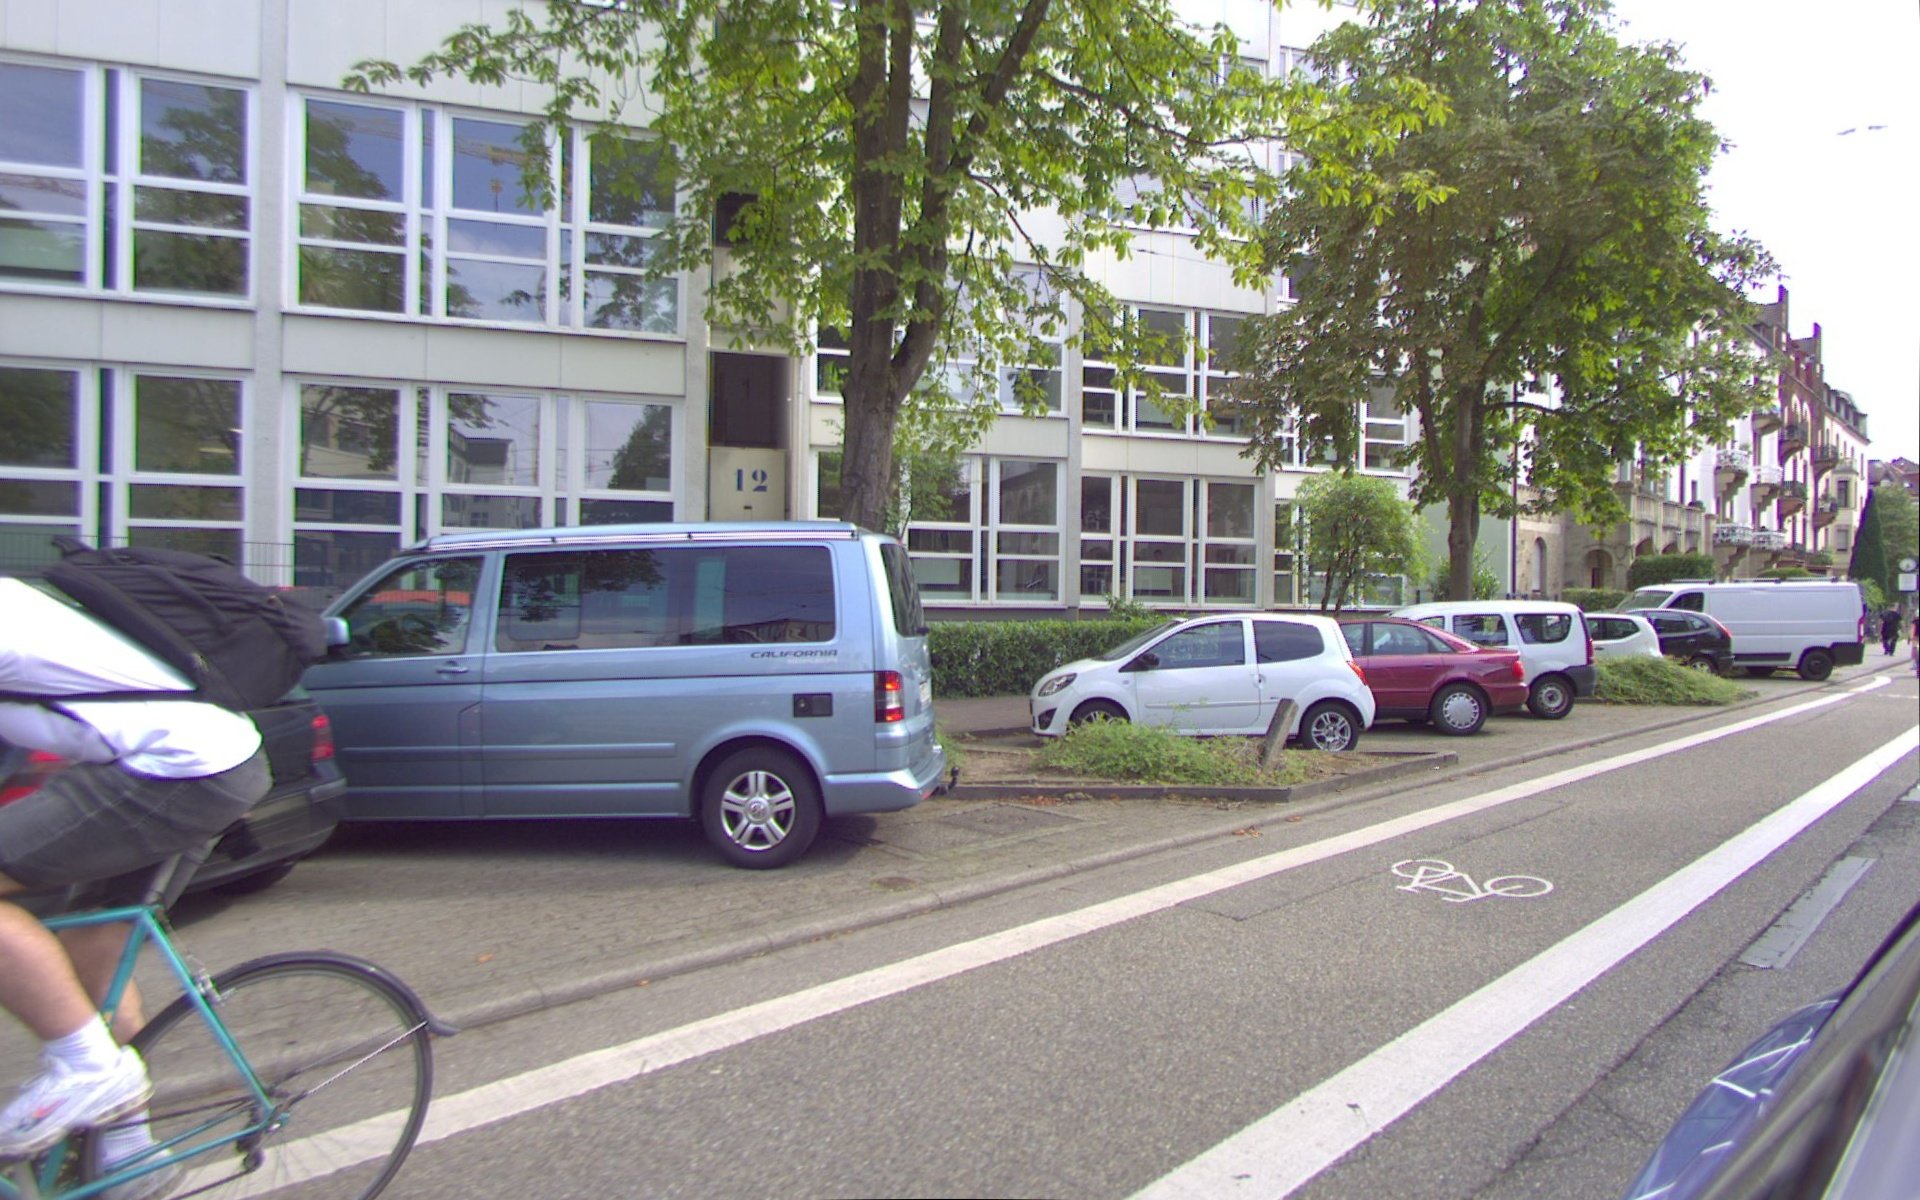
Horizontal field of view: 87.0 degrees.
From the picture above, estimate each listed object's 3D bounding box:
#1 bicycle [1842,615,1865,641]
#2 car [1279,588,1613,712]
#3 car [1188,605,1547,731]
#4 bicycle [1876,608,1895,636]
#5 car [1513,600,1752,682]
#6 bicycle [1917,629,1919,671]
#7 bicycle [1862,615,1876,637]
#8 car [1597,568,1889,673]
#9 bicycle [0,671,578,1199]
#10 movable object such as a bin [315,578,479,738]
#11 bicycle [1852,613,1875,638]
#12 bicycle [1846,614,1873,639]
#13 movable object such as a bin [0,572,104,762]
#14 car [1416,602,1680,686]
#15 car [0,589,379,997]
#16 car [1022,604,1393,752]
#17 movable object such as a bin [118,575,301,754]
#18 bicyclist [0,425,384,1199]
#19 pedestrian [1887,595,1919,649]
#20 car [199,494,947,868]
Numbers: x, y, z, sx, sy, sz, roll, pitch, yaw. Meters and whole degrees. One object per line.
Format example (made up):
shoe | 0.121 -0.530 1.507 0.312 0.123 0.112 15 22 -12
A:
bicycle | 33.507 1.038 37.958 0.484 0.918 1.642 1 1 37
car | 6.952 0.679 14.810 4.035 1.689 1.687 0 0 4
car | 4.993 0.798 12.883 3.907 1.451 1.686 0 0 7
bicycle | 40.599 0.957 44.371 1.887 1.156 0.392 1 1 -41
car | 14.284 0.835 21.671 3.889 1.669 1.687 0 0 5
bicycle | 23.904 1.219 24.734 2.037 0.993 0.639 1 1 -44
bicycle | 37.448 1.058 41.679 1.177 0.863 0.278 0 1 -41
car | 18.229 0.452 23.840 4.873 2.319 2.380 0 0 7
bicycle | -1.943 0.836 2.061 2.088 1.265 0.658 1 -1 -43
movable object such as a bin | -5.857 0.564 10.533 1.299 1.527 1.071 1 -1 -40
bicycle | 36.139 1.019 40.472 1.636 0.918 0.486 0 1 -41
bicycle | 34.887 1.003 39.236 1.635 0.918 0.487 0 1 -38
movable object such as a bin | -8.045 0.545 8.571 1.192 1.527 1.071 1 -1 -40
car | 11.203 0.806 19.508 4.019 1.530 1.687 0 0 5
car | -4.977 0.701 4.597 3.758 1.478 1.676 0 0 3
car | 2.511 0.779 11.002 3.650 1.451 1.687 0 0 5
movable object such as a bin | -7.030 0.554 9.479 1.299 1.527 1.071 1 -1 -40
bicyclist | -1.922 0.428 2.083 1.158 1.482 0.658 1 -1 -42
pedestrian | 31.960 0.746 34.177 0.880 1.754 0.786 1 2 -41
car | -2.247 0.440 6.603 4.199 2.040 1.829 0 0 5
